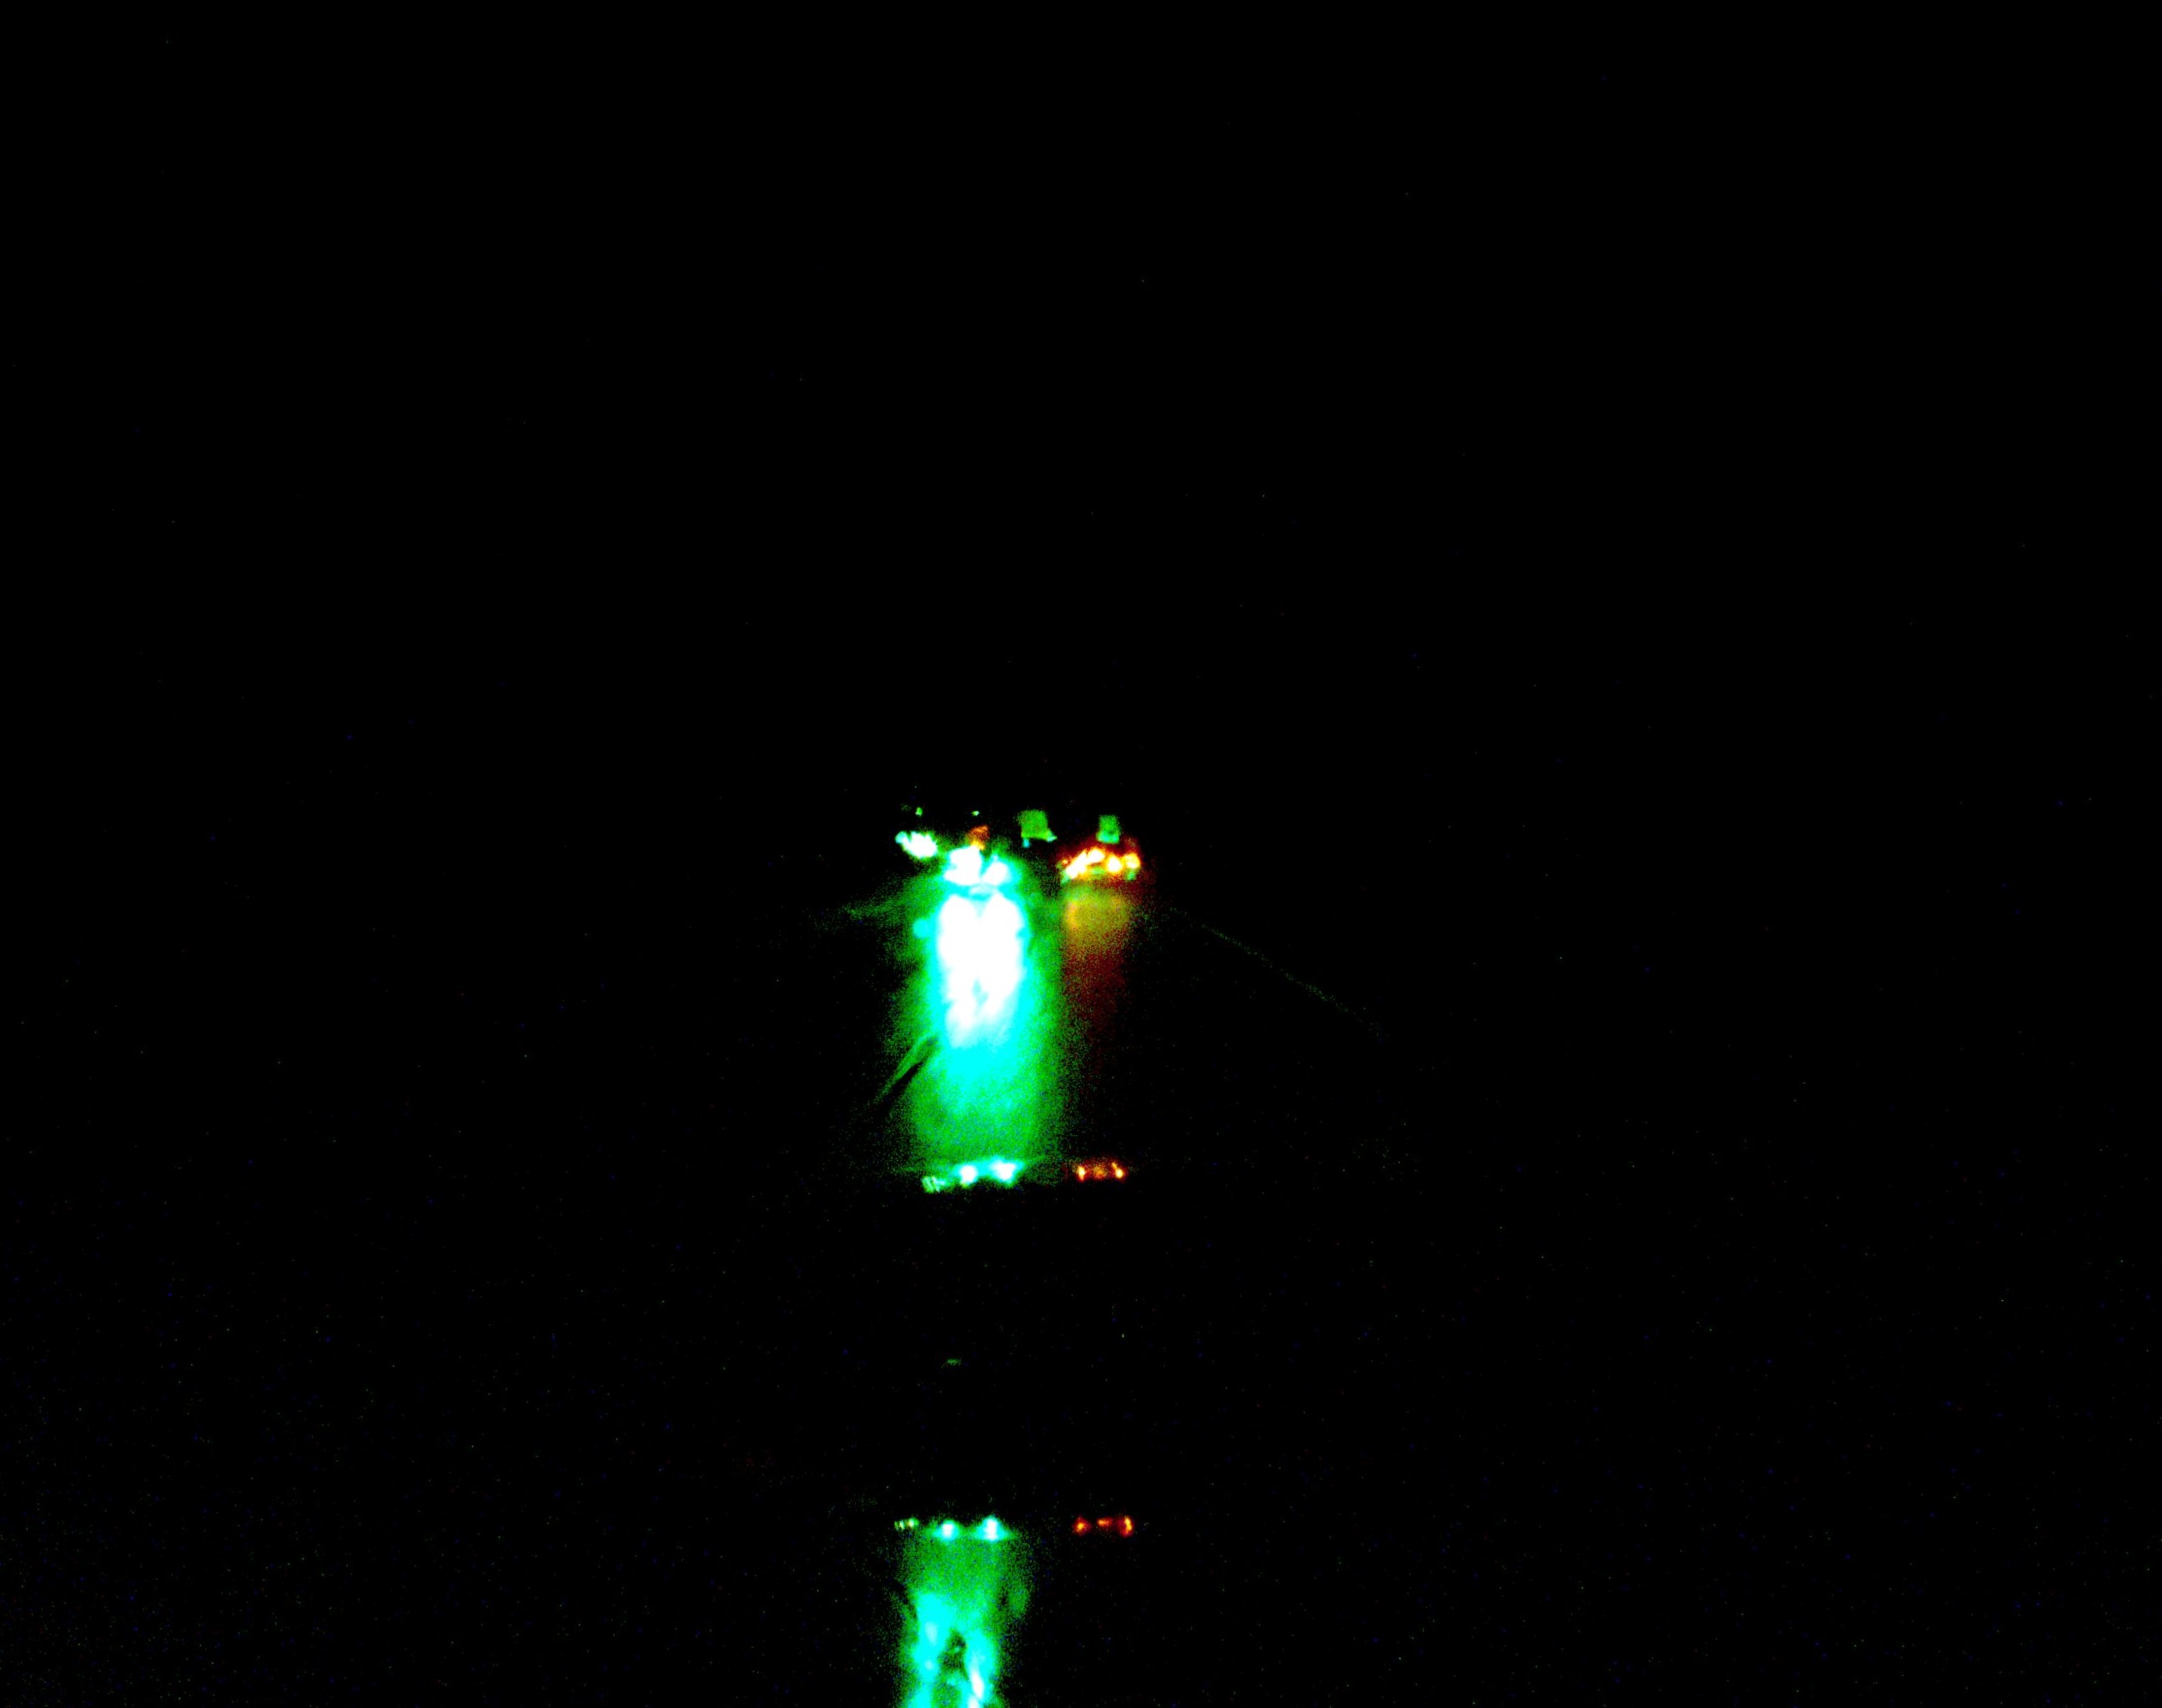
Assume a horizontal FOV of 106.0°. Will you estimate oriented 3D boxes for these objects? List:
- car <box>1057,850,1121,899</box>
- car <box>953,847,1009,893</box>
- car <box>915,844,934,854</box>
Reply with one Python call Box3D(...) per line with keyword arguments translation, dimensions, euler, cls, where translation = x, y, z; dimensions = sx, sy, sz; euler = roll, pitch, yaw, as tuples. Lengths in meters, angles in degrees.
Box3D(translation=(0.205, 0.678, 30.657), dimensions=(1.990, 1.628, 4.977), euler=(-1, 1, -4), cls="car")
Box3D(translation=(-3.932, 0.586, 32.842), dimensions=(1.927, 1.584, 4.977), euler=(-3, 0, -4), cls="car")
Box3D(translation=(-24.261, -0.791, 126.037), dimensions=(1.781, 1.483, 4.342), euler=(-1, 1, -28), cls="car")
